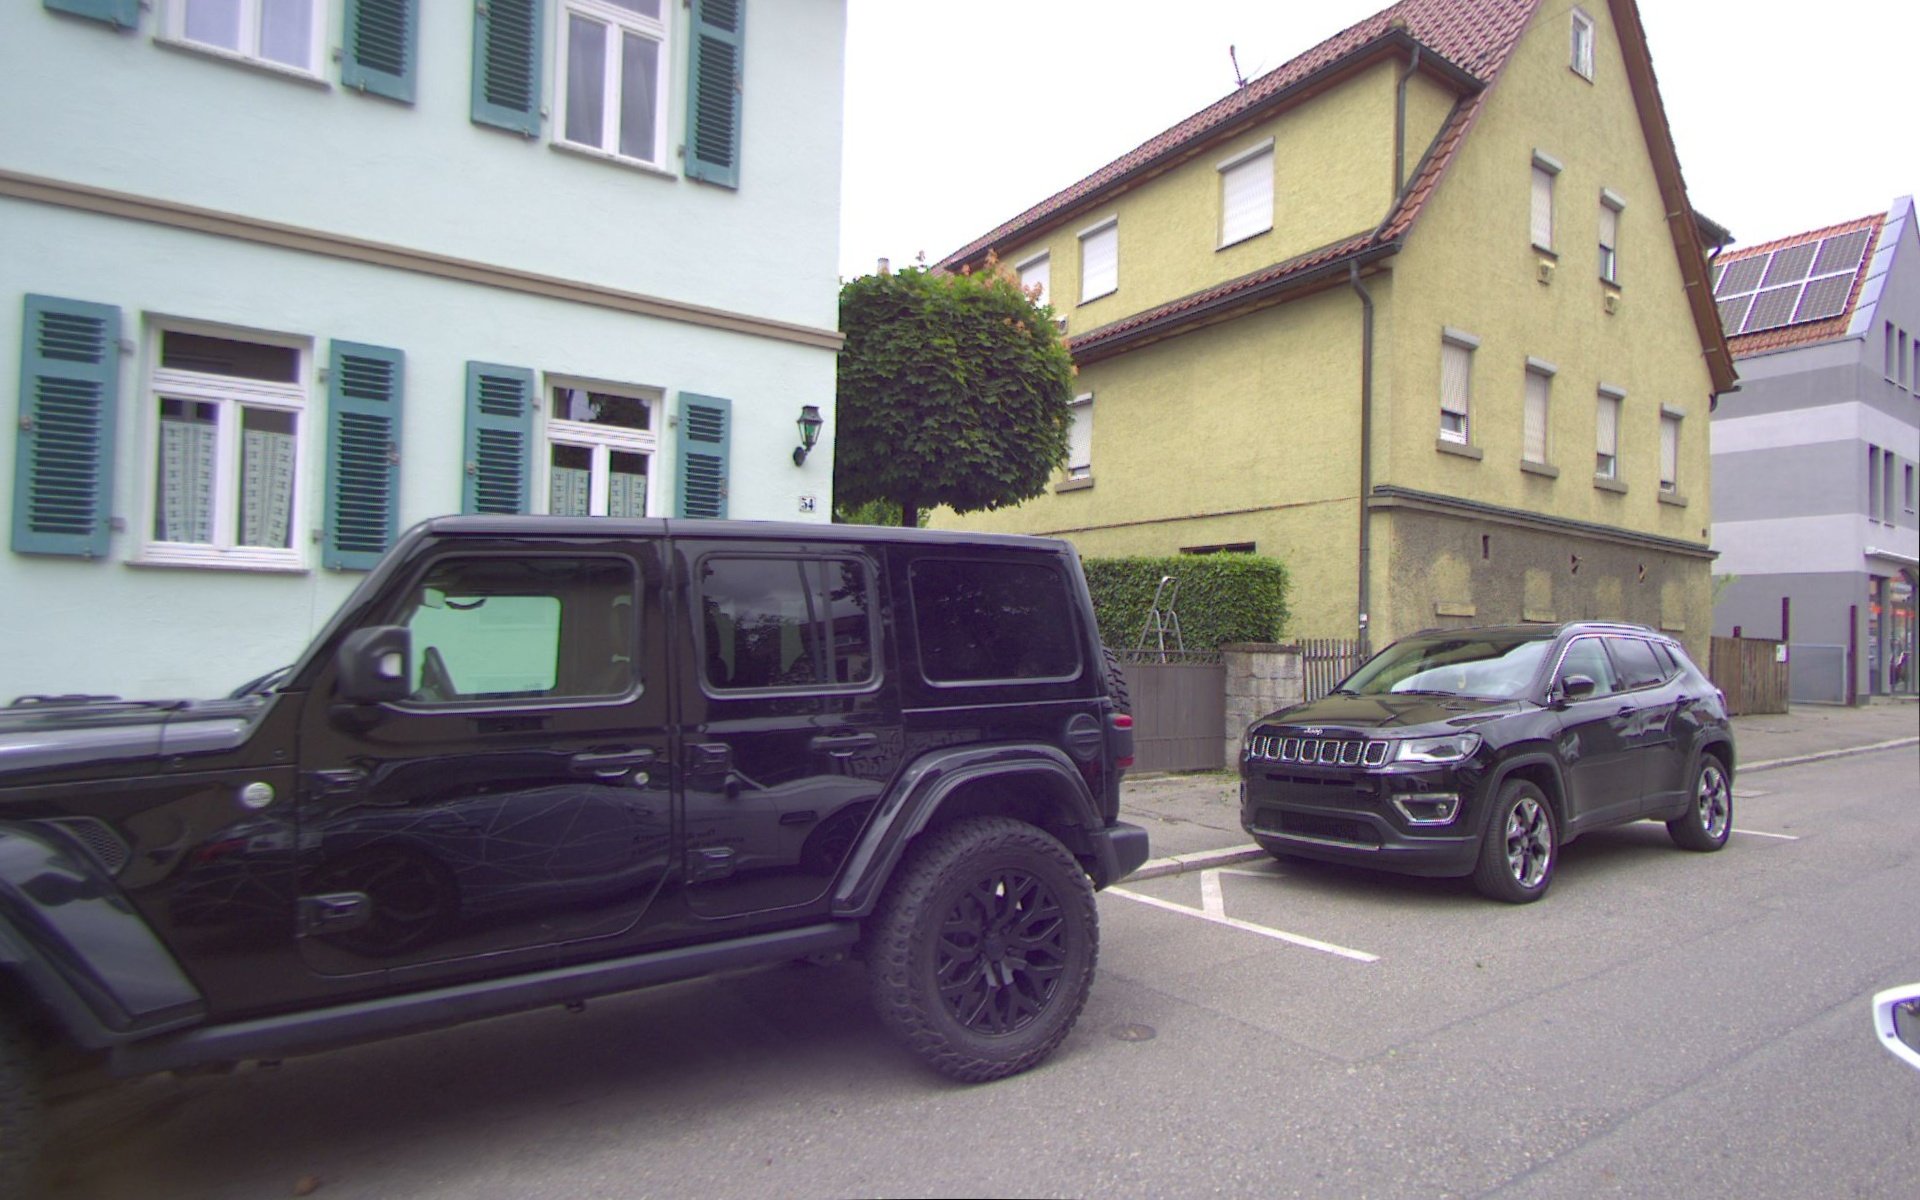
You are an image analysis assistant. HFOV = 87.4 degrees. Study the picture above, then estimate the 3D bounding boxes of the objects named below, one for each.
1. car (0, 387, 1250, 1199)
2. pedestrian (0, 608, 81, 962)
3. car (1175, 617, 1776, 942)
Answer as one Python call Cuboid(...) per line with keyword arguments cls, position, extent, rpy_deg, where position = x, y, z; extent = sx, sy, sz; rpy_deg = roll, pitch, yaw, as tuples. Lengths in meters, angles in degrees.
Cuboid(cls="car", position=(-1.360, 0.647, 3.666), extent=(4.615, 2.039, 1.985), rpy_deg=(1, -4, -30))
Cuboid(cls="pedestrian", position=(-4.722, 0.795, 4.505), extent=(0.963, 1.519, 0.803), rpy_deg=(2, 0, -28))
Cuboid(cls="car", position=(3.849, 0.996, 7.255), extent=(4.477, 1.640, 1.886), rpy_deg=(0, -3, -34))
